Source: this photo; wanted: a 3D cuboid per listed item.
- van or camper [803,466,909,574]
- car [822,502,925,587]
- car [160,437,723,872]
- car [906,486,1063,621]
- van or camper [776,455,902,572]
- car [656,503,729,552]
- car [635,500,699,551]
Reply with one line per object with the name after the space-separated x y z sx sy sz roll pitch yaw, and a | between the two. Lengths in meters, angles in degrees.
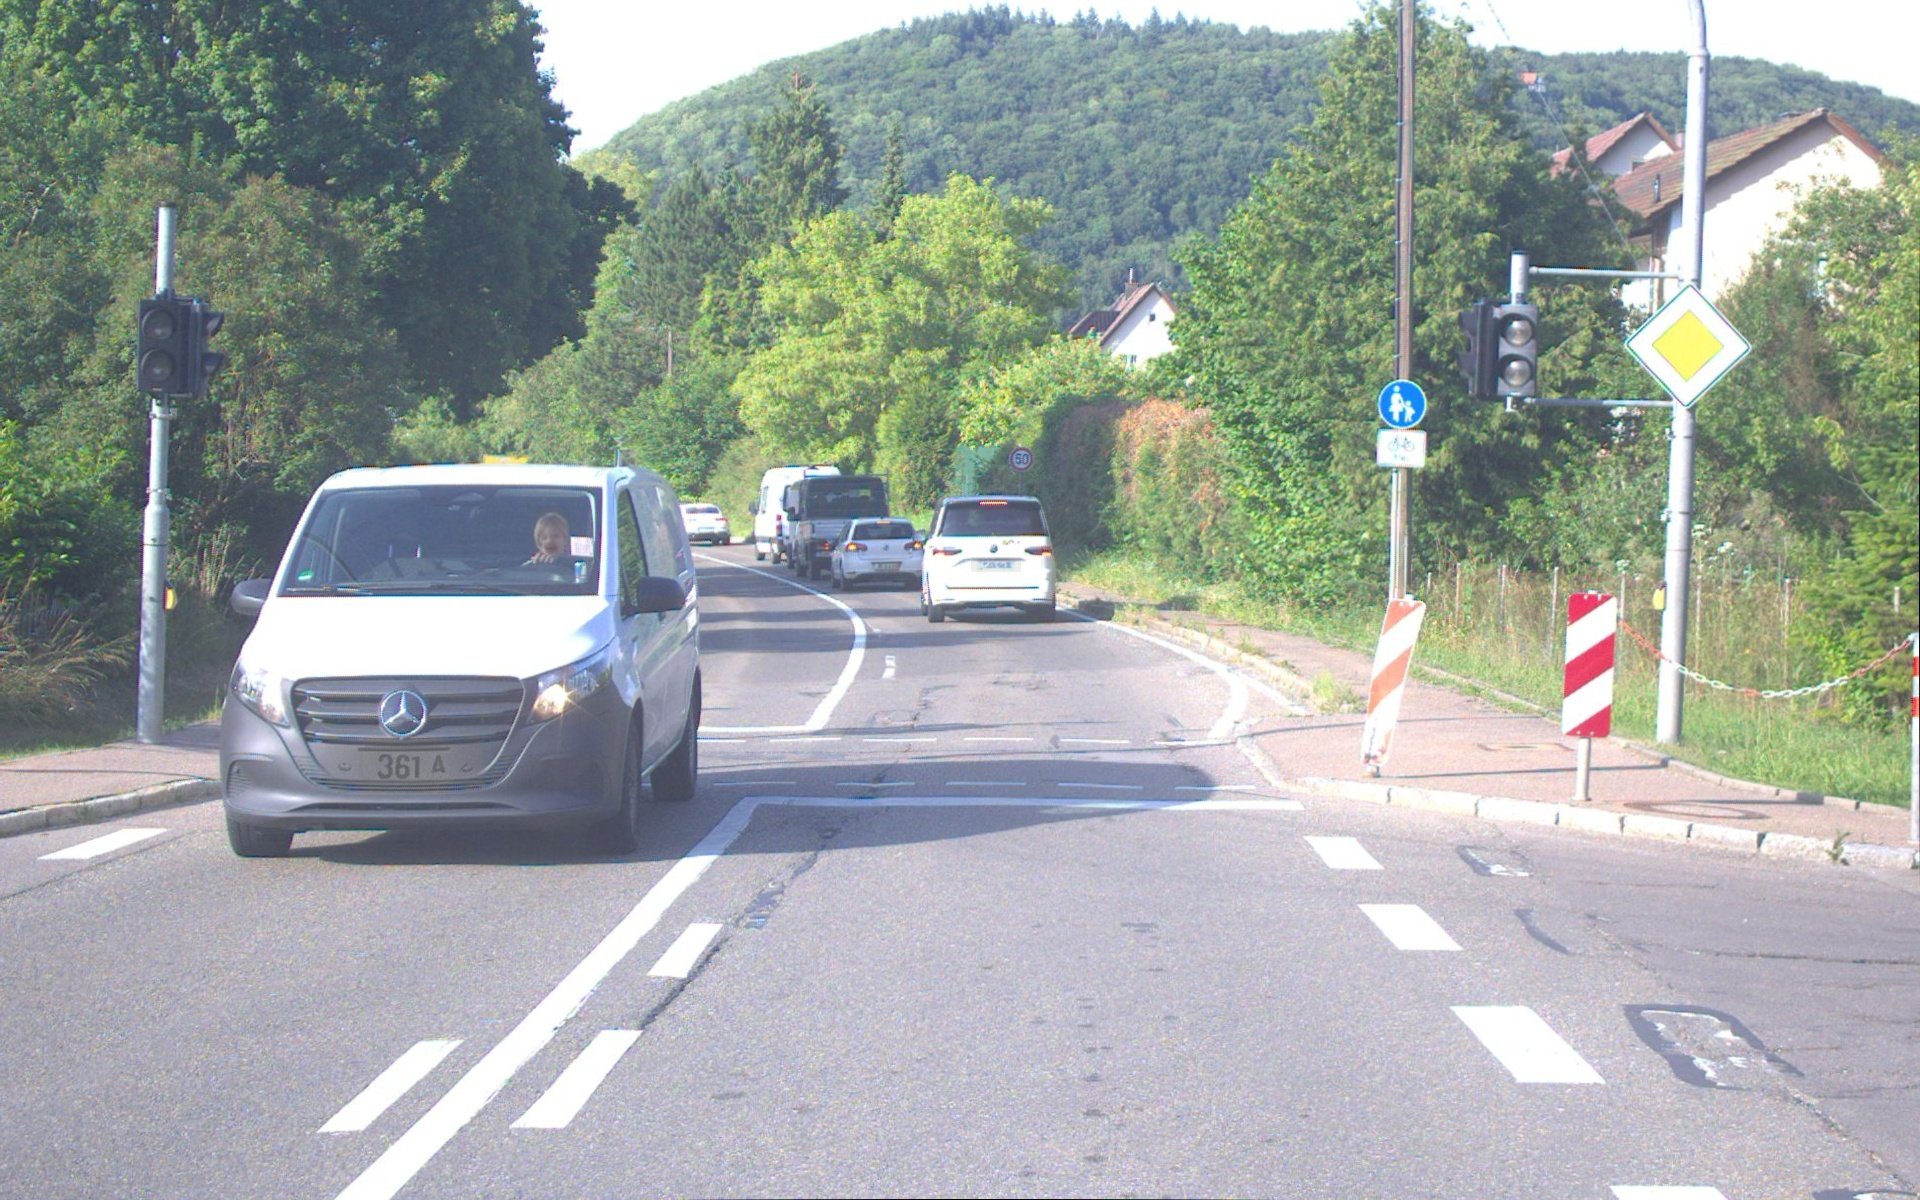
-2.426 -1.858 79.026 2.179 2.377 5.371 0 2 -4 | van or camper
-1.796 -1.168 70.512 1.993 1.678 4.001 0 2 -3 | car
-2.476 0.157 17.835 1.993 1.897 5.253 -1 2 1 | car
0.319 -0.758 52.916 1.993 1.870 4.872 2 2 -4 | car
-3.164 -2.235 88.366 2.414 2.894 6.133 0 2 -10 | van or camper
-9.158 -2.481 117.449 1.819 1.546 4.002 -1 3 -13 | car
-10.668 -2.717 124.993 1.796 1.787 4.002 0 2 -12 | car
